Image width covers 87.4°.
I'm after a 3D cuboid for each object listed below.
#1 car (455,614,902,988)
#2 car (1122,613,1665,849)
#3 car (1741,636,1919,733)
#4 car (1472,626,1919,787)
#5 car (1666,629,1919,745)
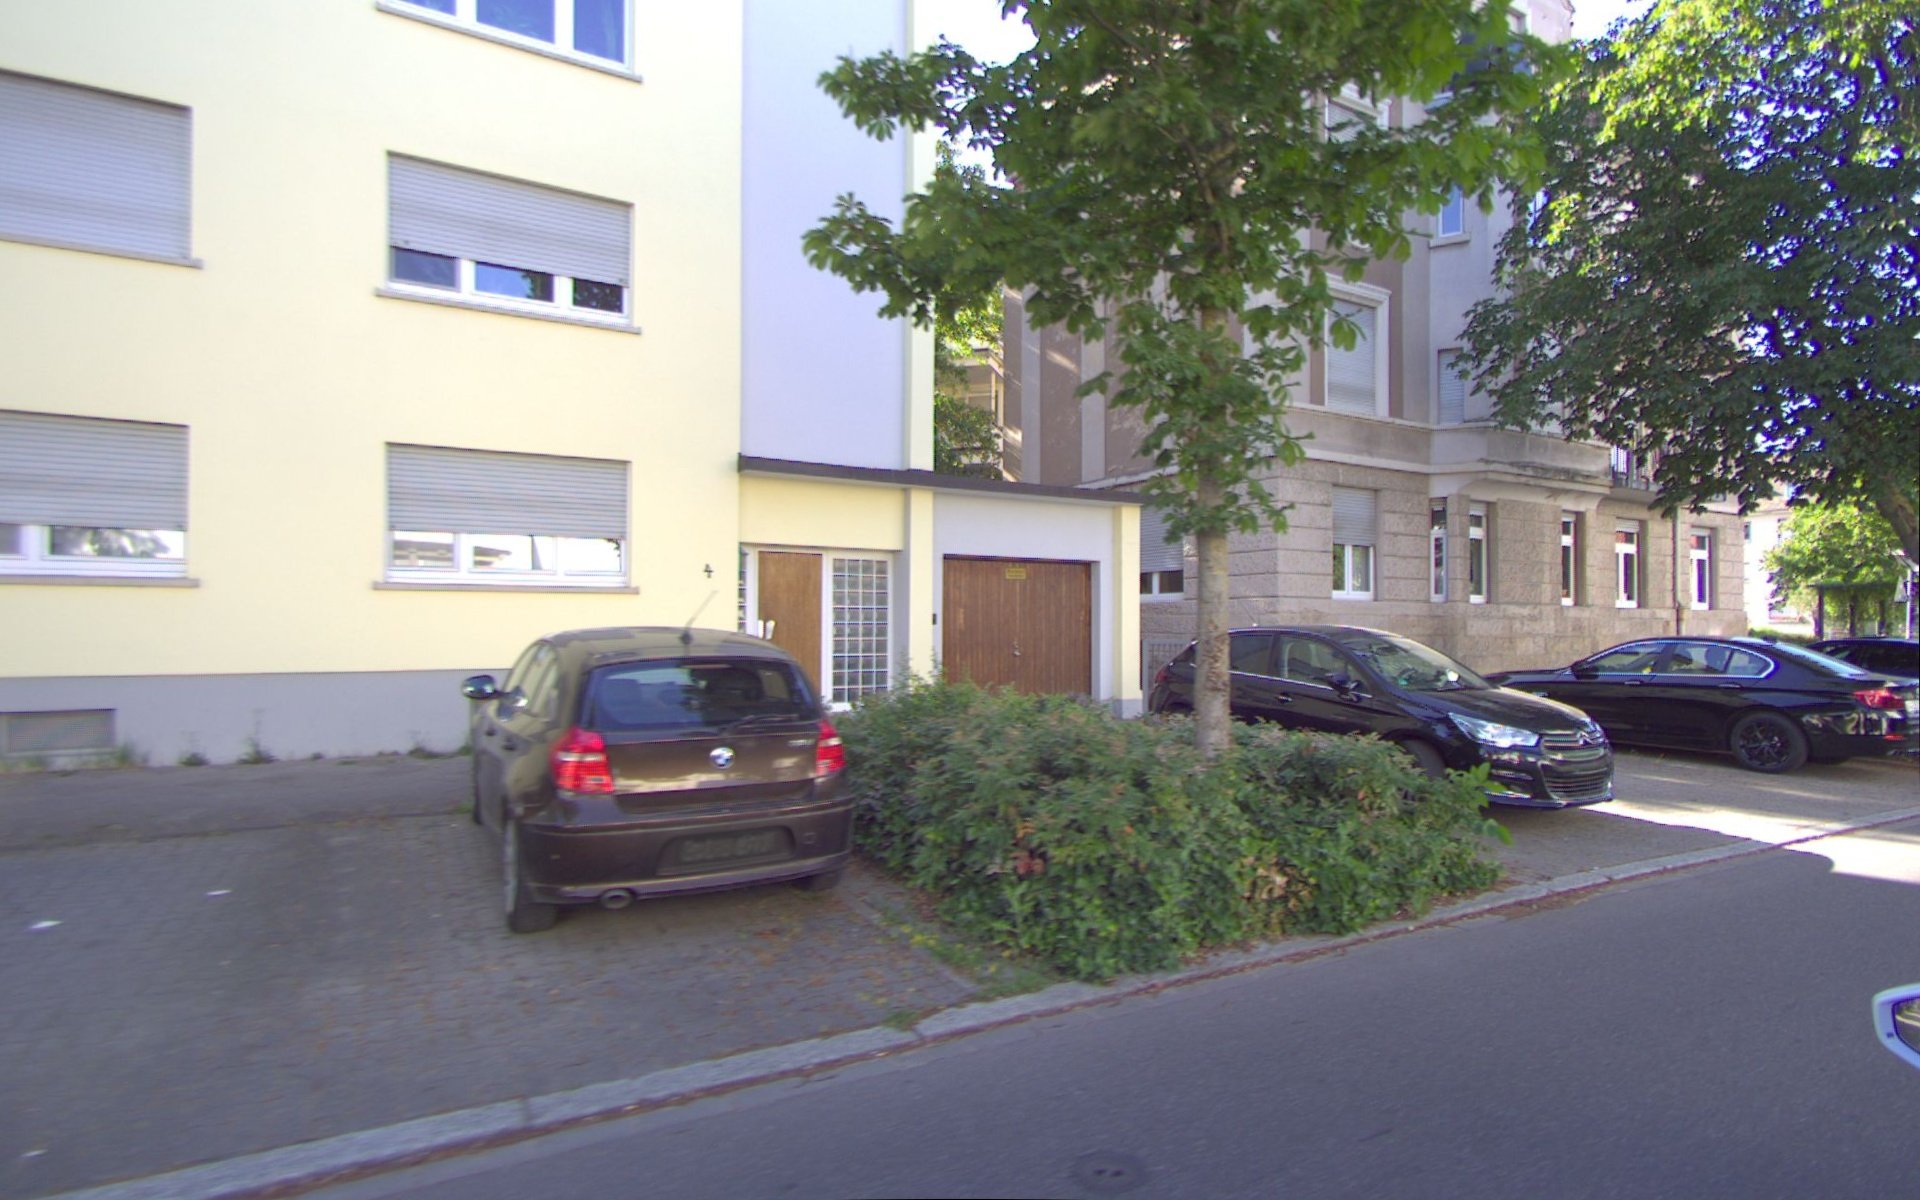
[{"bbox_3d":[-2.033,0.851,6.262,1.750,1.441,3.967,0,0,-30],"label":"car"},{"bbox_3d":[3.704,0.968,9.250,1.981,1.520,4.142,2,0,-36],"label":"car"},{"bbox_3d":[15.296,1.354,16.489,1.710,1.449,3.563,1,-1,-30],"label":"car"},{"bbox_3d":[8.958,1.140,12.354,1.848,1.498,4.450,2,-1,-31],"label":"car"},{"bbox_3d":[13.411,1.260,14.898,1.848,1.498,4.450,2,-1,-31],"label":"car"}]
